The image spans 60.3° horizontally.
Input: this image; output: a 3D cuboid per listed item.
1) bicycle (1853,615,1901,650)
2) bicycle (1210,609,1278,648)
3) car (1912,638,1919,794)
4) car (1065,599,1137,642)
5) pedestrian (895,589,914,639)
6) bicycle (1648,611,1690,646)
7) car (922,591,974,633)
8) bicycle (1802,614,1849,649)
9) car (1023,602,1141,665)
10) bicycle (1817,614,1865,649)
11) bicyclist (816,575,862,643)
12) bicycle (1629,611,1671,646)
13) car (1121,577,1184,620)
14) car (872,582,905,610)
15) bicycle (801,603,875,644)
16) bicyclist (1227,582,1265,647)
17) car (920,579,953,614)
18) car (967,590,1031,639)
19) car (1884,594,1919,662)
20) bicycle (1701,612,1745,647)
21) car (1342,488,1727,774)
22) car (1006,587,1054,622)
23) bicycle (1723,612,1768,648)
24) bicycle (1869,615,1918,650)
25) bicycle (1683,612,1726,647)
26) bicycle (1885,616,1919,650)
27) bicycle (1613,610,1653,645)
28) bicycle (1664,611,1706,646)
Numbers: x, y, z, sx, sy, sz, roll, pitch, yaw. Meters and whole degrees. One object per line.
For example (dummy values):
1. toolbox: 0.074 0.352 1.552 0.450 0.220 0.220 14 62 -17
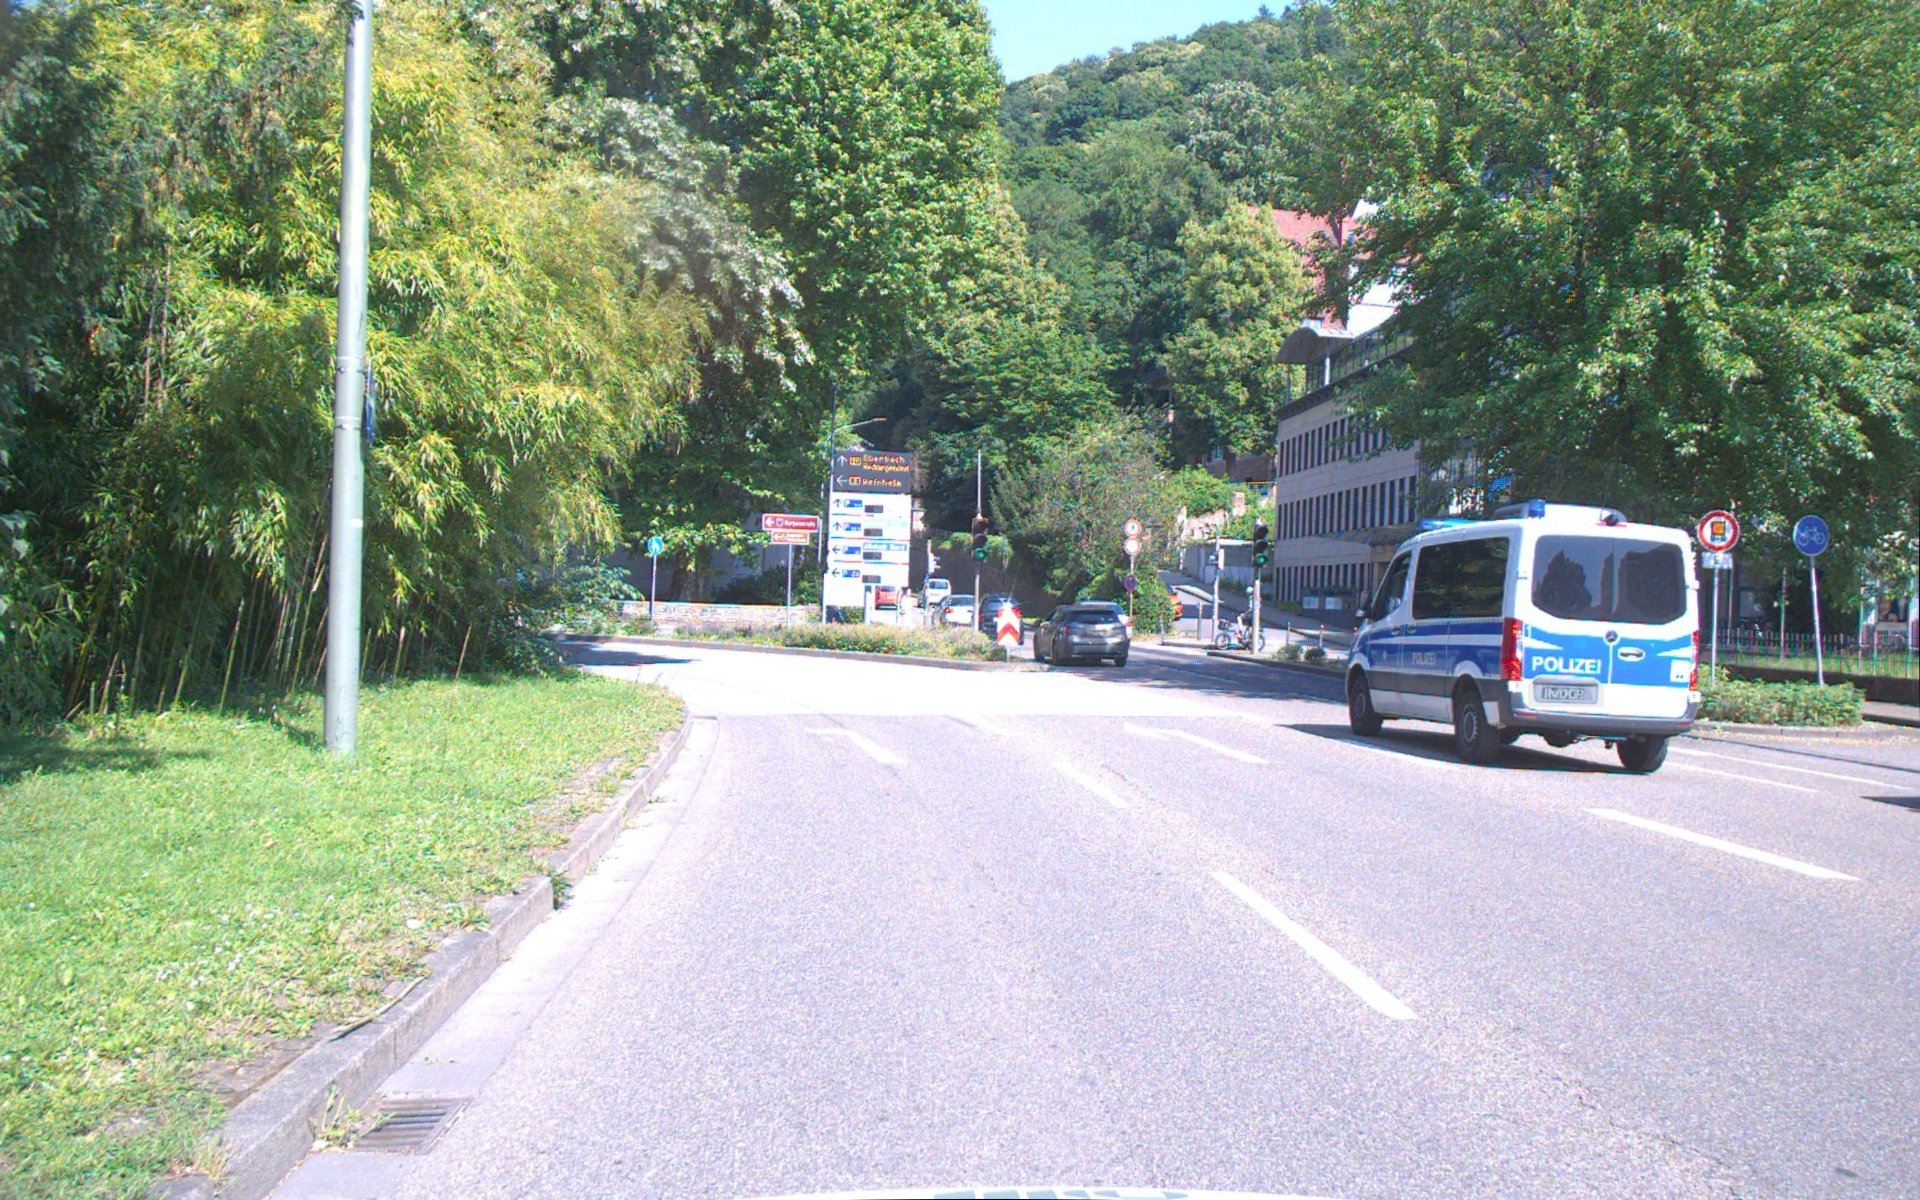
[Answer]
1. bicycle: 30.569 1.073 55.170 0.526 1.104 1.834 1 0 -2
2. bicycle: 8.737 0.869 50.956 2.032 1.132 0.757 2 0 8
3. car: 9.352 0.961 12.314 1.686 1.568 4.266 3 1 -6
4. car: 4.440 0.639 52.586 1.722 1.234 3.491 2 0 -4
5. pedestrian: -1.818 0.457 54.464 0.535 1.649 0.634 1 0 5
6. bicycle: 23.400 0.933 54.642 0.526 1.104 1.834 1 0 -2
7. car: -0.483 0.443 63.243 1.722 1.486 3.643 2 0 -4
8. bicycle: 28.770 1.038 55.027 0.526 1.104 1.834 1 0 -2
9. car: 2.904 0.774 40.216 1.726 1.357 3.788 2 0 -14
10. bicycle: 29.354 1.050 55.124 0.526 1.104 1.834 1 0 -2
11. bicyclist: -3.551 0.263 48.621 1.103 1.966 0.748 2 0 21
12. bicycle: 22.767 0.921 54.594 0.526 1.104 1.834 1 0 -2
13. car: 7.959 -0.056 68.697 1.893 1.726 3.996 1 0 -4
14. car: -4.060 -0.228 93.593 1.722 1.486 3.491 2 0 -4
15. bicycle: -3.583 0.686 48.640 2.034 1.132 0.757 2 0 21
16. bicyclist: 8.803 0.450 50.946 1.102 1.966 0.749 2 0 8
17. car: -1.409 -0.216 98.746 1.722 1.972 3.491 2 0 -4
18. car: 1.243 0.436 54.142 1.722 1.486 3.491 2 0 -4
19. car: 23.285 0.668 37.212 4.066 1.501 1.874 1 0 -9
20. bicycle: 25.179 0.967 54.595 0.526 1.104 1.834 1 0 -2
21. car: 5.852 0.289 17.636 2.032 2.552 4.925 2 0 -4
22. car: 3.140 0.171 74.959 1.722 1.486 3.643 2 0 -4
23. bicycle: 25.846 0.980 54.440 0.526 1.104 1.834 1 0 -2
24. bicycle: 31.142 1.084 55.200 0.526 1.104 1.834 1 0 -2
25. bicycle: 24.546 0.955 54.555 0.526 1.104 1.834 1 0 -2
26. bicycle: 31.701 1.095 55.213 0.526 1.104 1.834 1 0 -2
27. bicycle: 22.182 0.909 54.545 0.526 1.104 1.834 1 0 -2
28. bicycle: 23.966 0.944 54.718 0.526 1.104 1.834 1 0 -2
